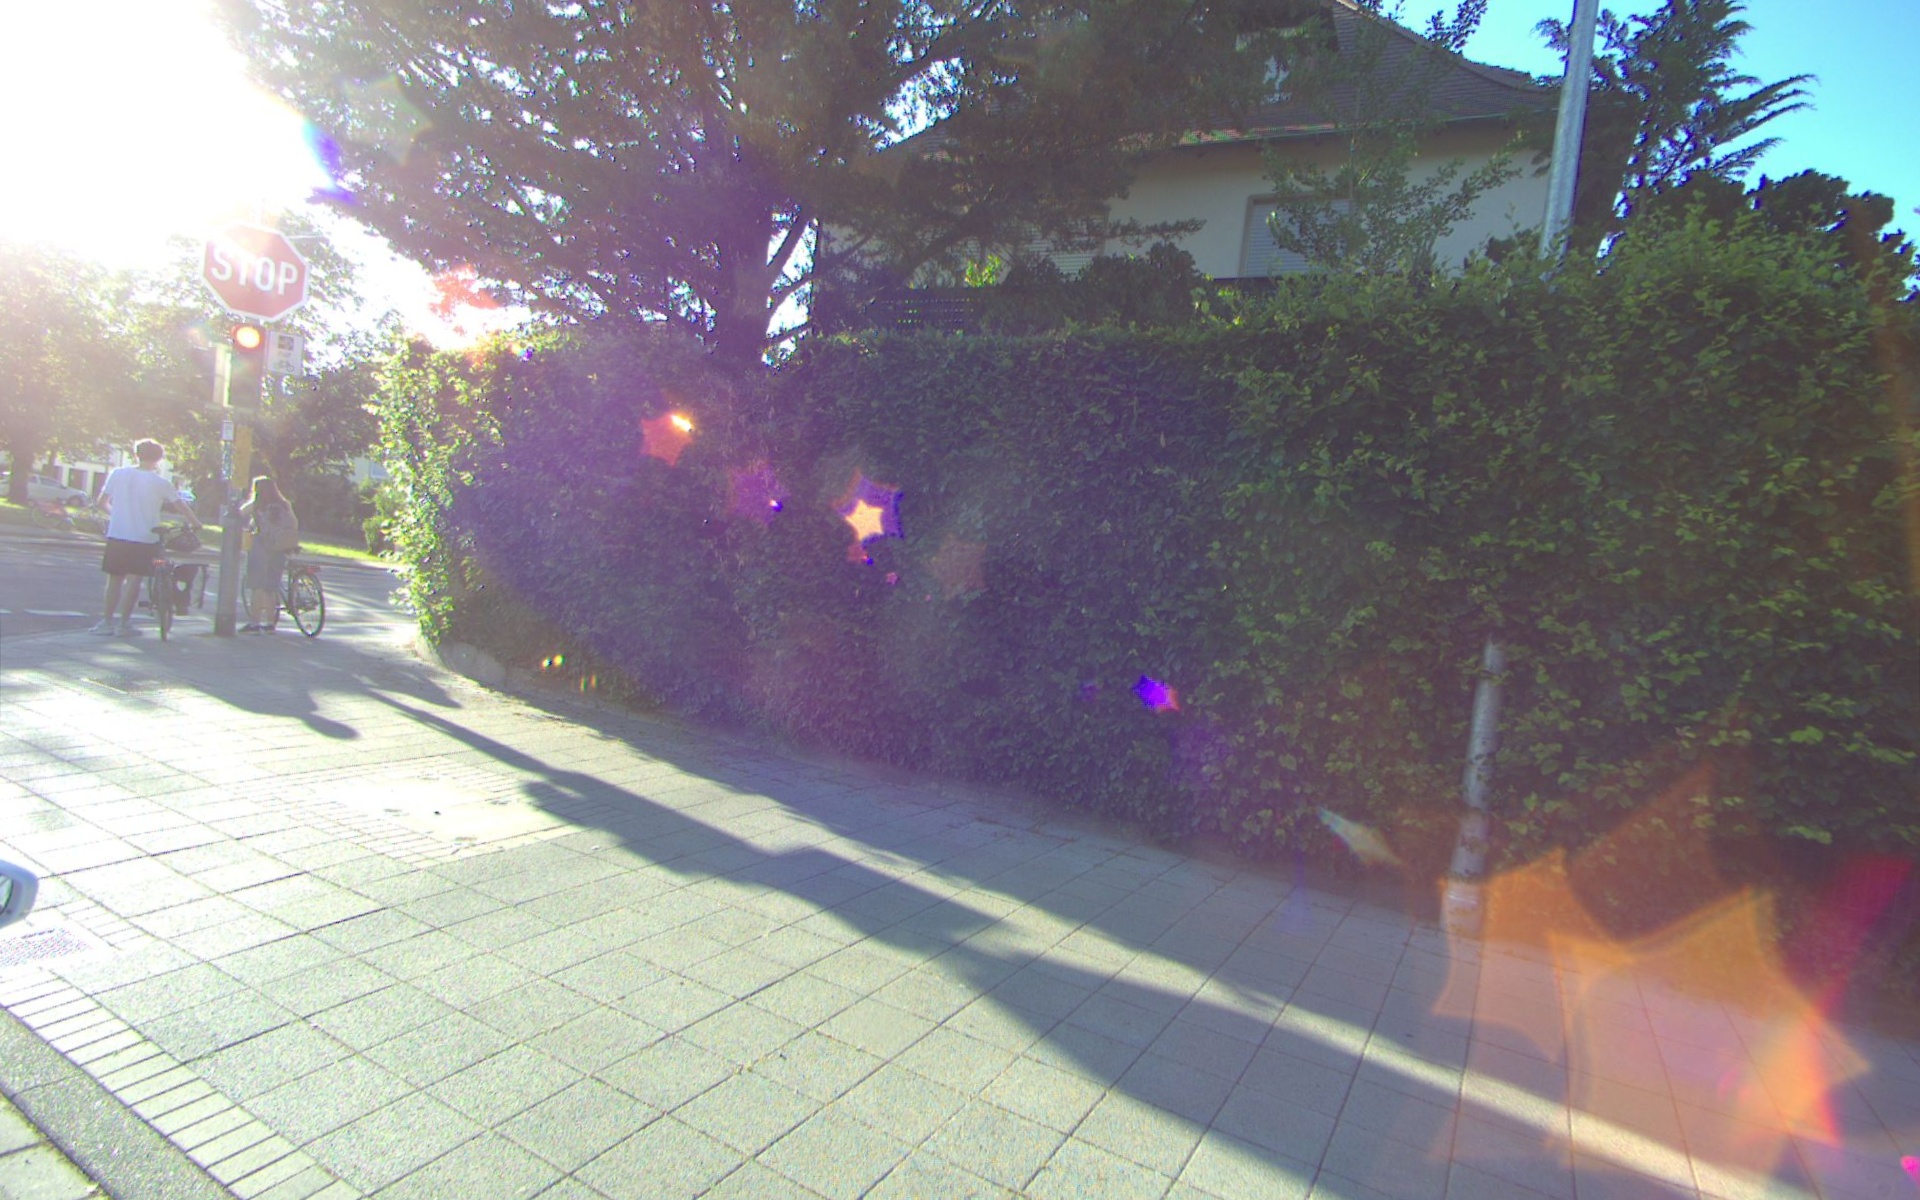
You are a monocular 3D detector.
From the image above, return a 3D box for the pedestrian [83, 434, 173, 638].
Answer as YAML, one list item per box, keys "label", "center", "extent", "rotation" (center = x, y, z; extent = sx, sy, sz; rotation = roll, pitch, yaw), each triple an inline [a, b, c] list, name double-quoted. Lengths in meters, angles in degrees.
- label: "pedestrian"
  center: [-8.152, -0.619, 9.870]
  extent: [0.624, 1.893, 0.765]
  rotation: [2, 5, -39]

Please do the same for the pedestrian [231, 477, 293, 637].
- label: "pedestrian"
  center: [-7.299, -0.449, 10.518]
  extent: [0.347, 1.604, 0.458]
  rotation: [8, -1, -37]

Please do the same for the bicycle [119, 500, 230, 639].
- label: "bicycle"
  center: [-7.759, -0.323, 9.999]
  extent: [0.569, 1.198, 1.889]
  rotation: [8, -1, -33]

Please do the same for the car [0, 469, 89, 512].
- label: "car"
  center: [-46.450, -5.498, 50.393]
  extent: [1.497, 1.542, 3.933]
  rotation: [6, -2, 25]

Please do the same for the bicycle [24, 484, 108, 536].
- label: "bicycle"
  center: [-23.247, -2.325, 26.176]
  extent: [0.460, 1.103, 1.520]
  rotation: [12, 3, 39]
